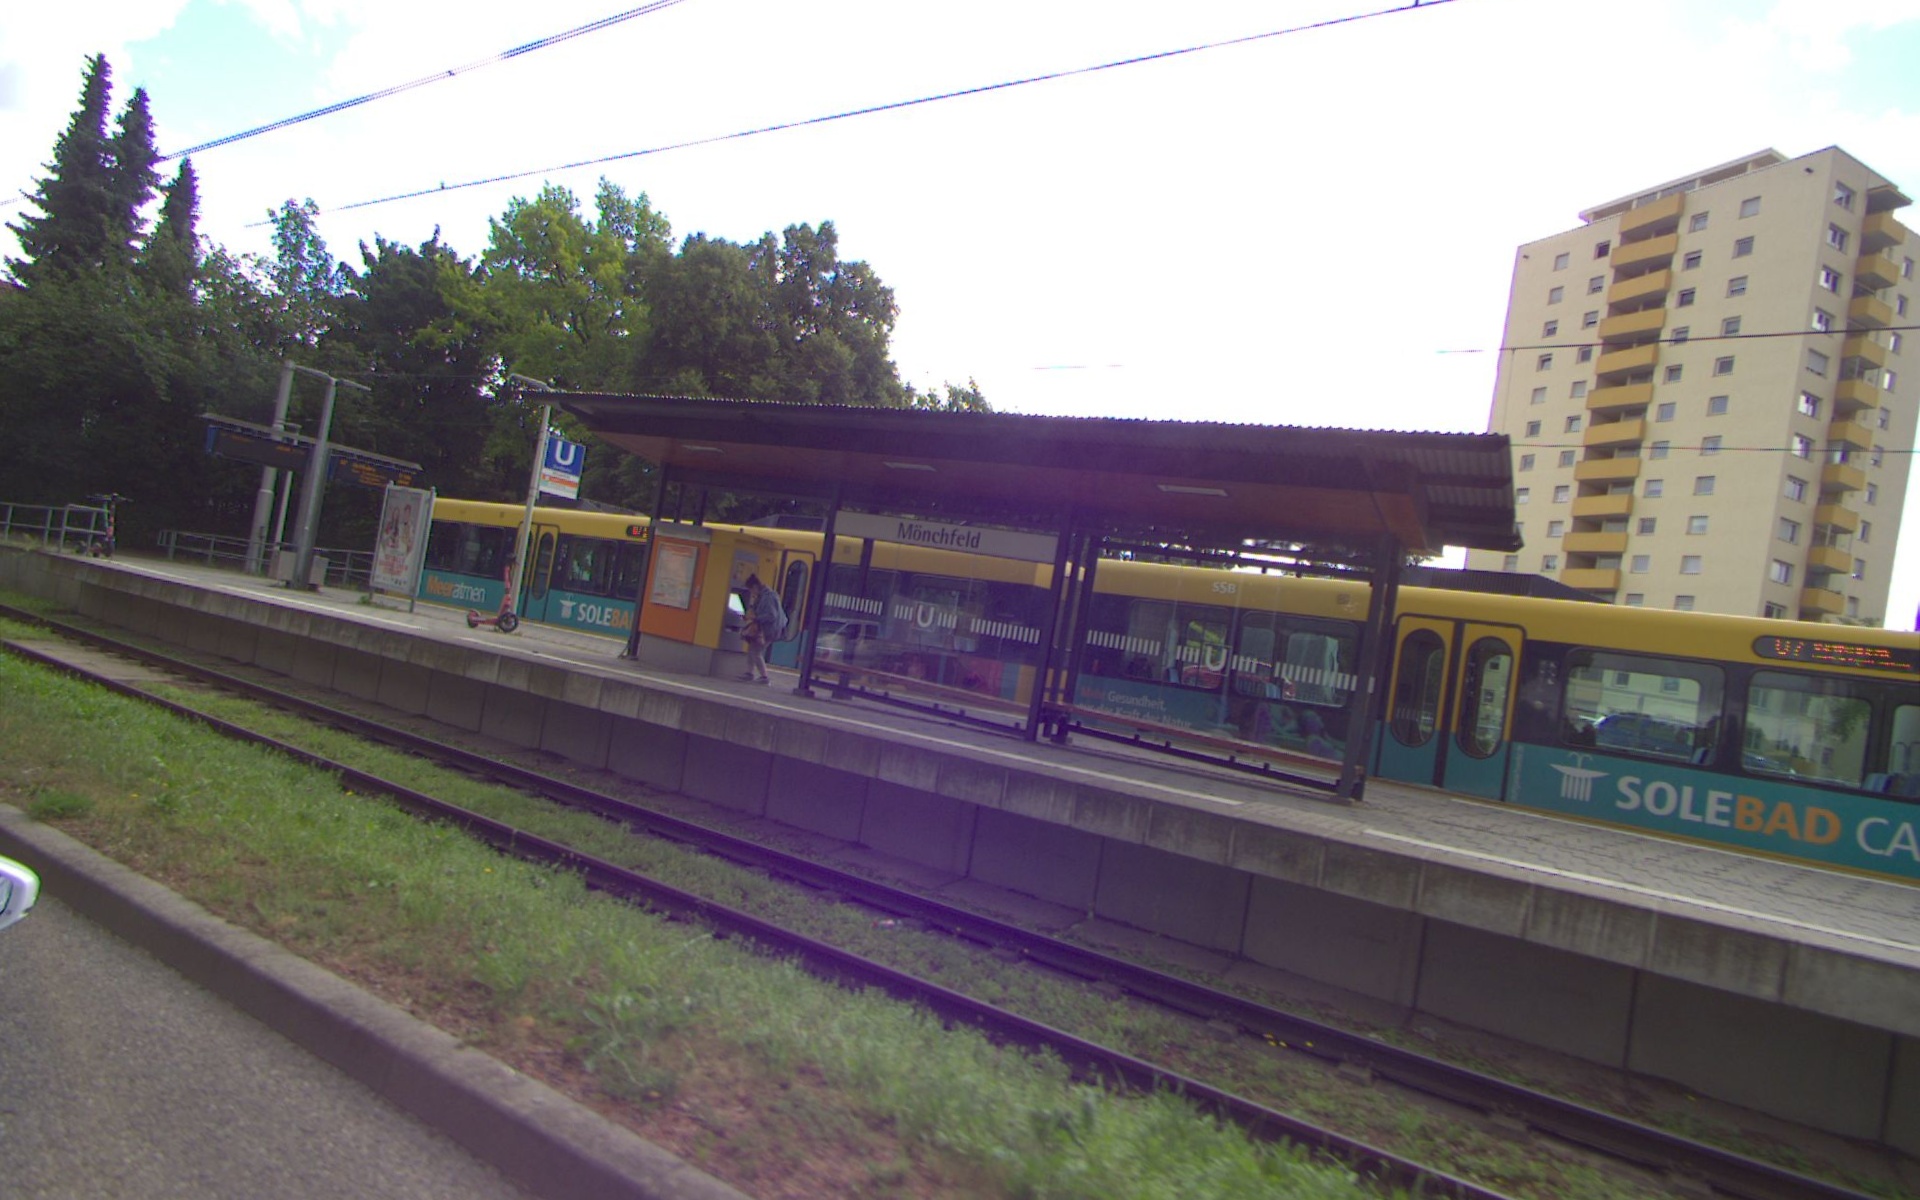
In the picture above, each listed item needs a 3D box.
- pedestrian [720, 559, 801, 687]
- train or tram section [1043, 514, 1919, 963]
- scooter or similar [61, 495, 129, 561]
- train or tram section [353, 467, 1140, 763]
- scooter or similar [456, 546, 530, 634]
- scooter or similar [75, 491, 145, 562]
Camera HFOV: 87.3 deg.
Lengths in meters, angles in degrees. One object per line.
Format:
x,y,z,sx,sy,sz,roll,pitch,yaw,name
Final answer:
-2.663,0.302,13.442,0.620,1.591,0.657,9,-2,-41,pedestrian
10.257,1.824,10.925,19.193,3.777,2.821,7,-3,33,train or tram section
-18.406,-1.537,21.404,1.231,1.268,0.431,6,-1,20,scooter or similar
-5.962,-0.252,21.136,19.188,3.627,2.822,8,-3,32,train or tram section
-7.500,-0.167,16.138,1.127,1.256,0.369,8,-1,32,scooter or similar
-16.646,-1.447,19.700,1.232,1.268,0.431,5,-1,23,scooter or similar
